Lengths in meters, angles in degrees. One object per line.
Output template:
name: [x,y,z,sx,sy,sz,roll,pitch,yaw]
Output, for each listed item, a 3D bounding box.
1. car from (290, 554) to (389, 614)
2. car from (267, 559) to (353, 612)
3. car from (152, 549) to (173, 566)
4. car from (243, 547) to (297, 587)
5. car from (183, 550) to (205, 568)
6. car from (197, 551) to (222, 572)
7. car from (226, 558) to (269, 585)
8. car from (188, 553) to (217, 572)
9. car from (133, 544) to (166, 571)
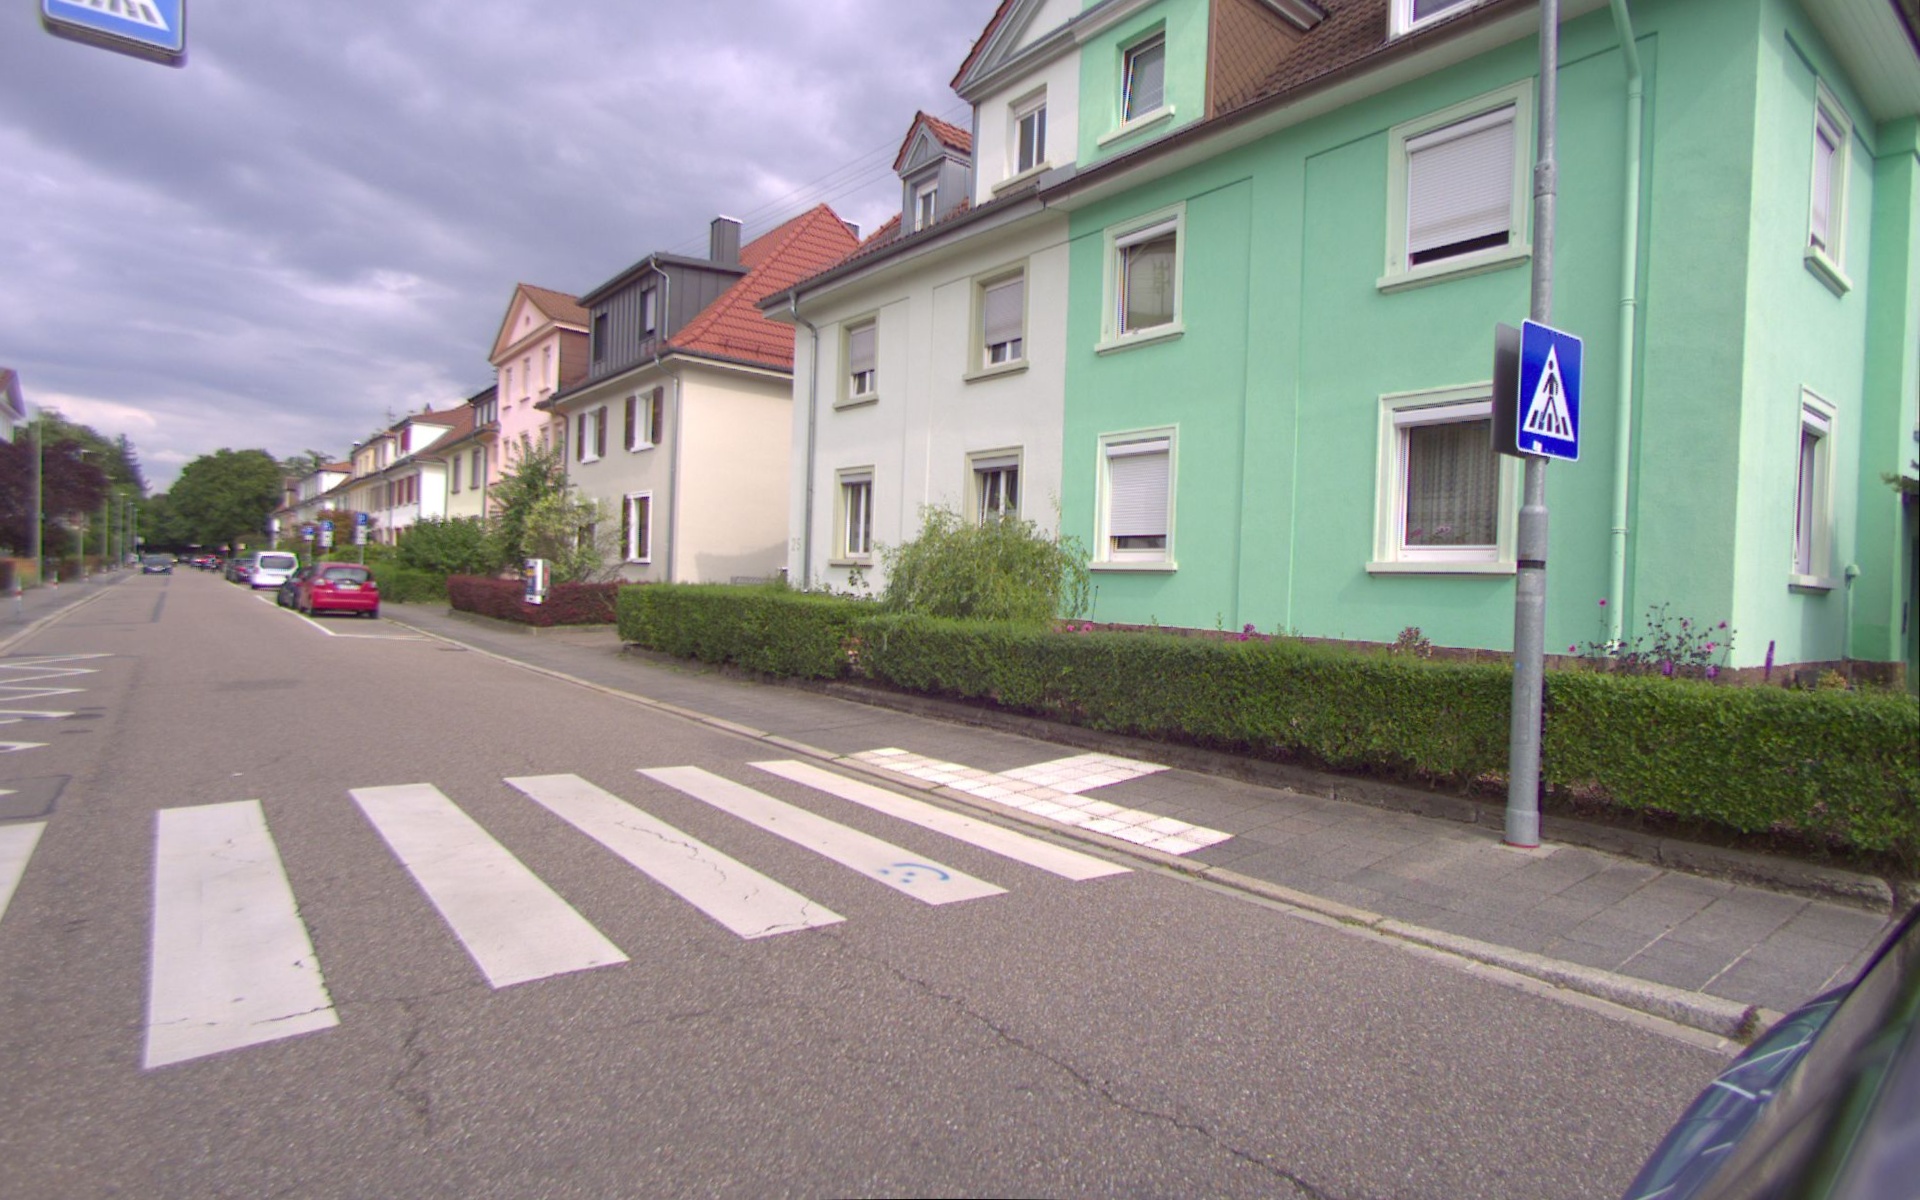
car: [-17.851,-0.480,29.041,1.964,1.593,3.998,1,1,-38]
car: [-21.246,-0.507,33.014,1.964,1.593,3.998,1,1,-38]
car: [-100.139,-5.338,127.101,1.963,2.039,3.998,3,0,-38]
car: [-35.068,-1.678,51.387,1.964,1.927,3.998,1,1,-38]
car: [-93.424,-5.032,123.356,1.964,2.039,3.997,1,1,-39]
car: [-79.042,-4.096,106.592,1.963,2.039,3.998,3,0,-38]
car: [-44.907,-1.815,63.734,1.964,1.593,3.998,1,1,-38]
car: [-71.511,-3.558,95.507,1.705,1.727,3.992,3,0,-43]
car: [-63.671,-3.345,79.535,1.963,2.039,3.998,1,1,-38]
